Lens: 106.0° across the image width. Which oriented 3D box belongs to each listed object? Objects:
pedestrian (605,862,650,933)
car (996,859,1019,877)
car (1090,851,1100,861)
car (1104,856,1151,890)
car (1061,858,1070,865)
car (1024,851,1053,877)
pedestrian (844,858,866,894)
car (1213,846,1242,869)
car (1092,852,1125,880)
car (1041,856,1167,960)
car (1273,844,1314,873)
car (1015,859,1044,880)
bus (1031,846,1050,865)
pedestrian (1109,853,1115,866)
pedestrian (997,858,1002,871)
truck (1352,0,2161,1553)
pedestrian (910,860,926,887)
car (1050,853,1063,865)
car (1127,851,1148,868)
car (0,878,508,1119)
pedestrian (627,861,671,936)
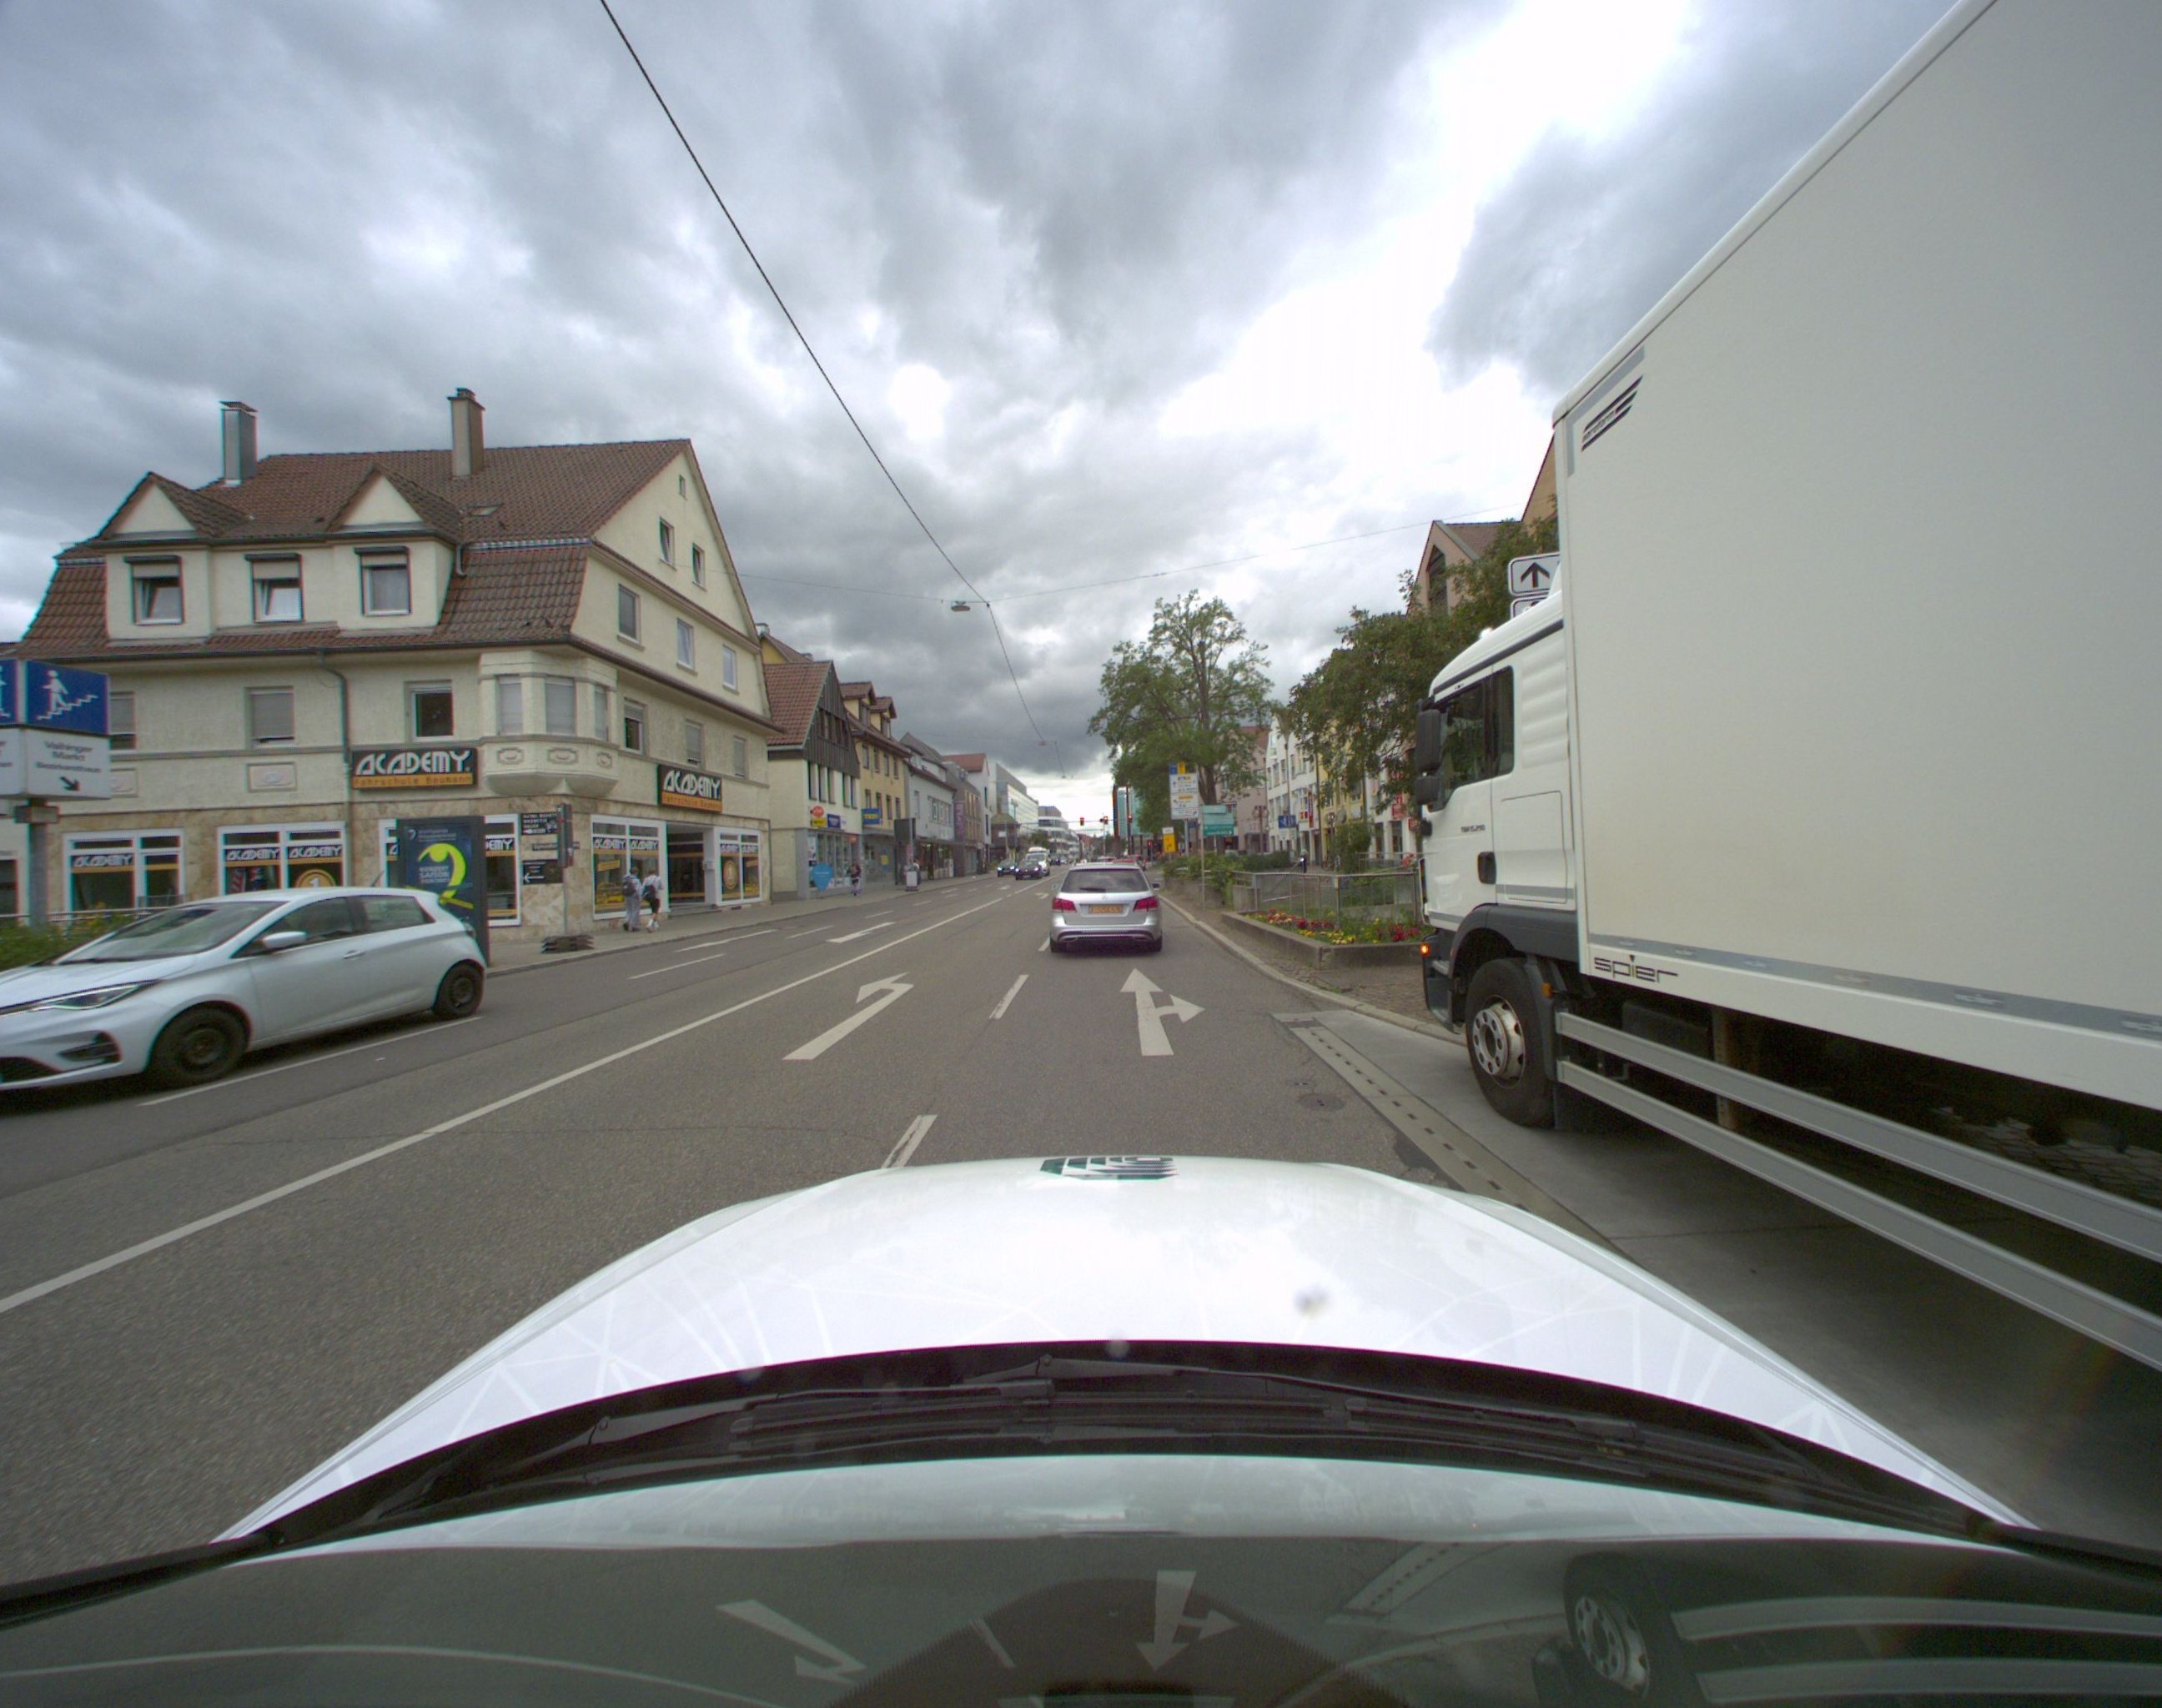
[{"bbox_3d":[-11.676,1.109,20.976,0.685,1.761,0.681,-3,0,1],"label":"pedestrian"},{"bbox_3d":[-6.736,1.245,75.121,1.611,1.523,3.509,-4,0,1],"label":"car"},{"bbox_3d":[2.865,0.482,168.779,1.986,2.013,4.001,-3,0,1],"label":"car"},{"bbox_3d":[2.456,0.947,42.004,1.742,1.521,4.014,-3,0,13],"label":"car"},{"bbox_3d":[-3.147,1.453,164.734,1.569,1.244,3.608,-3,0,2],"label":"car"},{"bbox_3d":[-3.576,0.830,69.450,1.954,1.960,5.141,-4,0,2],"label":"car"},{"bbox_3d":[-11.130,1.064,40.181,0.865,1.746,0.805,0,0,-3],"label":"pedestrian"},{"bbox_3d":[12.549,0.304,69.874,1.859,1.864,4.002,-3,0,2],"label":"car"},{"bbox_3d":[1.809,0.729,53.312,1.986,1.684,4.002,-3,0,2],"label":"car"},{"bbox_3d":[0.347,0.825,14.360,1.868,1.506,3.999,-2,0,0],"label":"car"},{"bbox_3d":[14.795,0.323,56.796,1.859,1.864,4.002,-3,0,2],"label":"car"},{"bbox_3d":[-3.718,1.102,59.574,1.610,1.428,3.925,-3,0,2],"label":"car"},{"bbox_3d":[-7.055,0.287,142.612,2.765,3.165,5.935,-3,0,2],"label":"bus"},{"bbox_3d":[3.890,0.732,101.742,0.612,1.634,0.586,0,0,-7],"label":"pedestrian"},{"bbox_3d":[-10.129,1.293,101.250,0.584,1.634,0.615,0,0,-1],"label":"pedestrian"},{"bbox_3d":[3.334,-0.492,1.246,2.679,3.561,9.769,-3,0,1],"label":"truck"},{"bbox_3d":[-9.918,1.186,49.551,0.815,1.634,0.979,-1,0,-4],"label":"pedestrian"},{"bbox_3d":[-4.221,0.880,141.137,1.986,2.013,4.002,-3,0,2],"label":"car"},{"bbox_3d":[5.944,0.557,86.053,1.986,1.684,4.002,-3,0,2],"label":"car"},{"bbox_3d":[-7.742,1.115,7.773,1.634,1.568,3.927,-4,0,1],"label":"car"},{"bbox_3d":[-11.003,1.116,20.758,0.631,1.824,0.681,-3,0,1],"label":"pedestrian"}]
